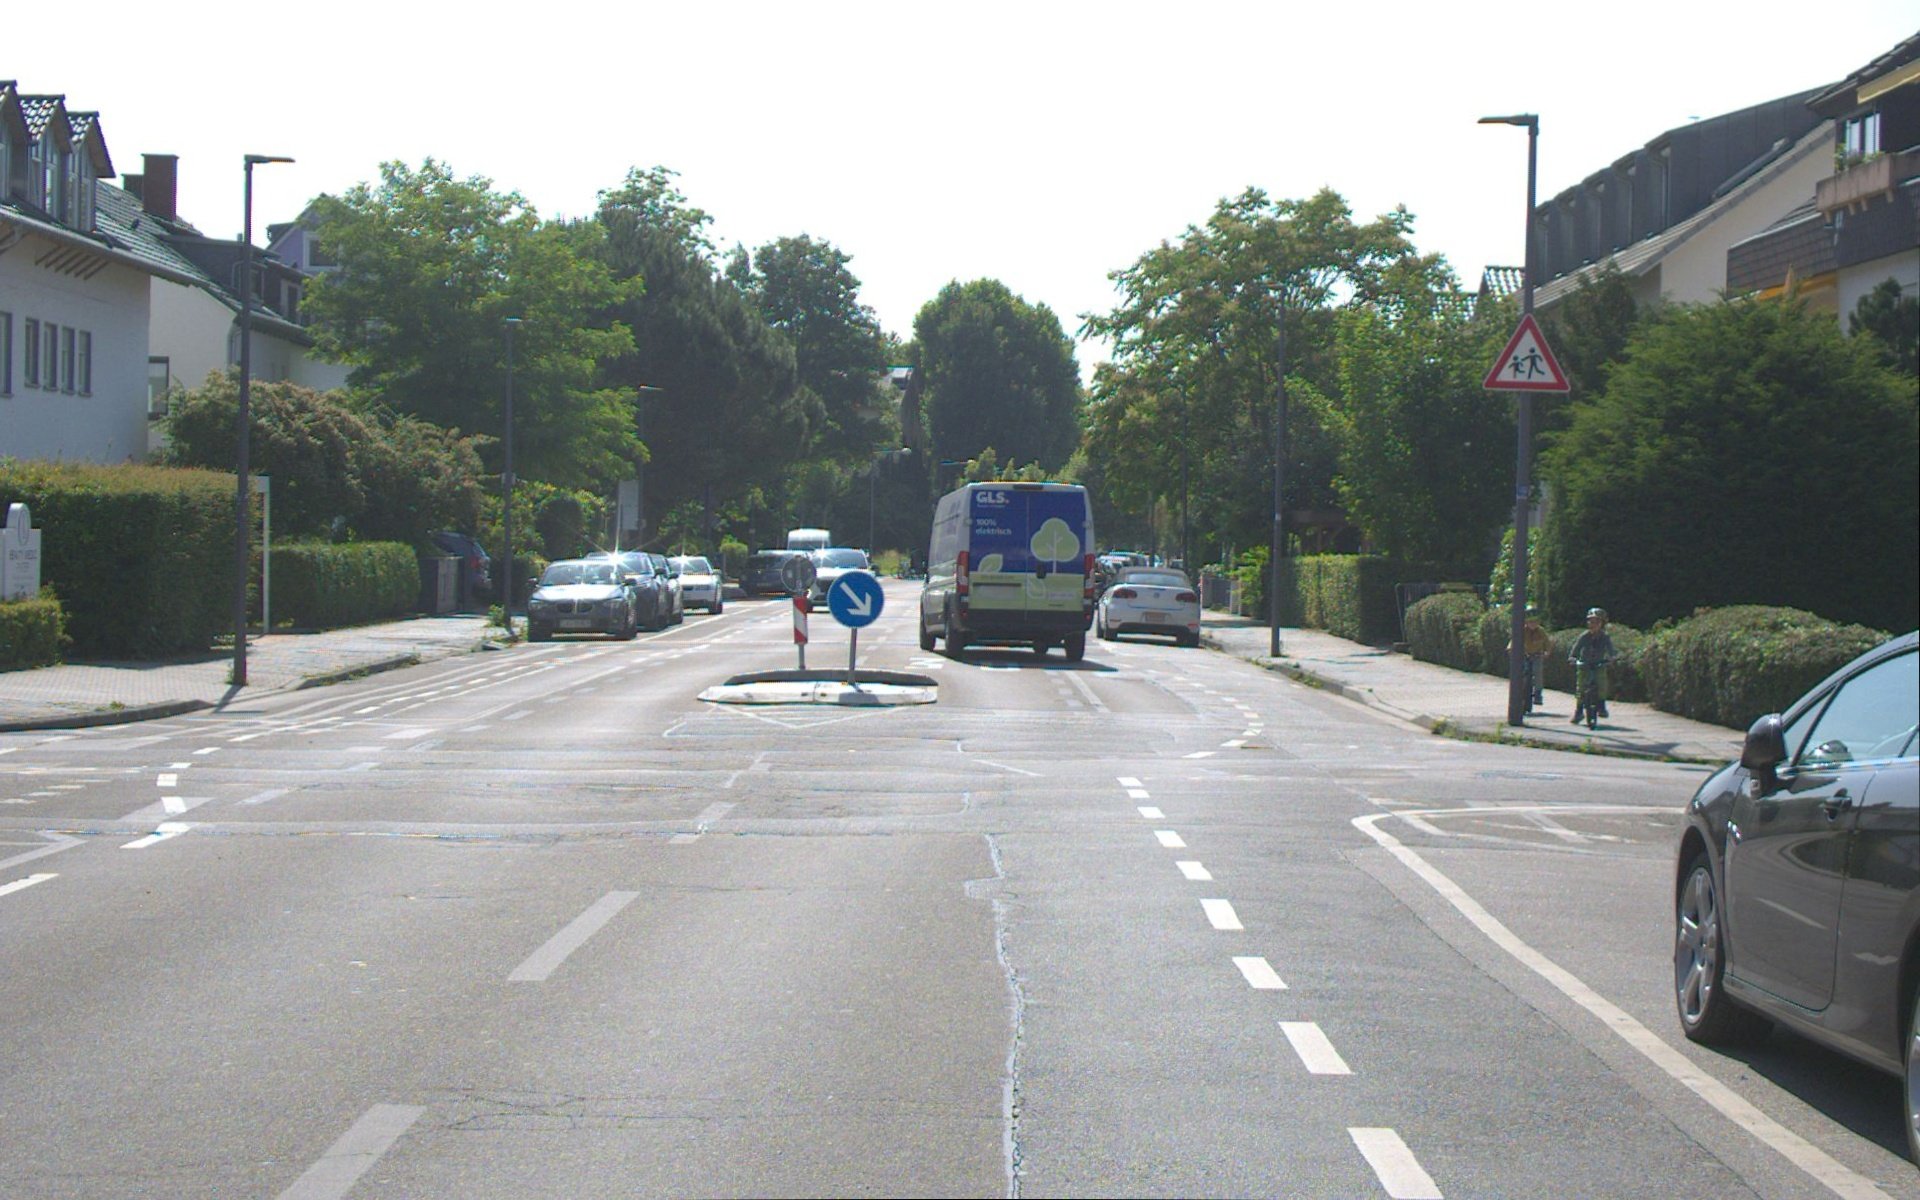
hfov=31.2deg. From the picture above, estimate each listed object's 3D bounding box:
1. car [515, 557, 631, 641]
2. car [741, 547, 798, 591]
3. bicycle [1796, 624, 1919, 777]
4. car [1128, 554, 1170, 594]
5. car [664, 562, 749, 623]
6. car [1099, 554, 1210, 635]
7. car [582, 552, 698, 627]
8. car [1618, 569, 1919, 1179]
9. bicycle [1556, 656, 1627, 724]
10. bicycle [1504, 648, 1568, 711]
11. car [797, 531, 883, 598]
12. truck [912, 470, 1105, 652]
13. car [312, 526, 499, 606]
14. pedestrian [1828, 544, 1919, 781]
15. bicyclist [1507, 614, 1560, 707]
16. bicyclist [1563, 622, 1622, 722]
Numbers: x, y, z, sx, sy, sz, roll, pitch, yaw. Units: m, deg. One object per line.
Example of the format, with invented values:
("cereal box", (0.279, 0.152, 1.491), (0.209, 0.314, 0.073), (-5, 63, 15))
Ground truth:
("car", (-6.849, -0.050, 61.098), (1.785, 1.435, 4.155), (0, 1, -3))
("car", (-6.550, -1.080, 118.550), (1.781, 1.455, 4.086), (1, 1, -1))
("bicycle", (7.997, 0.804, 26.817), (2.708, 1.154, 0.862), (2, 0, 33))
("car", (8.076, -1.115, 147.008), (1.700, 1.671, 3.774), (1, 0, 3))
("car", (-6.202, -0.206, 84.552), (1.785, 1.435, 4.000), (1, 1, 0))
("car", (3.609, -0.122, 64.370), (1.740, 1.397, 4.074), (2, 1, -1))
("car", (-6.306, -0.233, 68.083), (1.785, 1.435, 4.110), (0, 1, 2))
("car", (3.202, 0.710, 9.539), (1.736, 1.463, 4.345), (4, 1, -1))
("bicycle", (5.998, 0.849, 32.666), (0.401, 0.597, 1.173), (1, 1, -2))
("bicycle", (5.874, 0.810, 35.108), (0.401, 0.597, 1.151), (1, 1, -2))
("car", (-3.029, -0.894, 87.568), (1.915, 1.661, 4.506), (0, 0, 1))
("truck", (0.667, -0.566, 51.432), (2.272, 2.562, 4.393), (1, 0, -7))
("car", (-12.915, -0.805, 80.246), (3.987, 1.753, 2.000), (1, 1, 1))
("pedestrian", (7.751, 0.492, 27.612), (0.898, 1.866, 1.189), (1, 0, -33))
("bicyclist", (5.853, 0.619, 35.127), (0.398, 0.930, 0.609), (1, 0, -2))
("bicyclist", (6.011, 0.683, 32.690), (0.401, 0.926, 0.658), (1, 0, -2))
